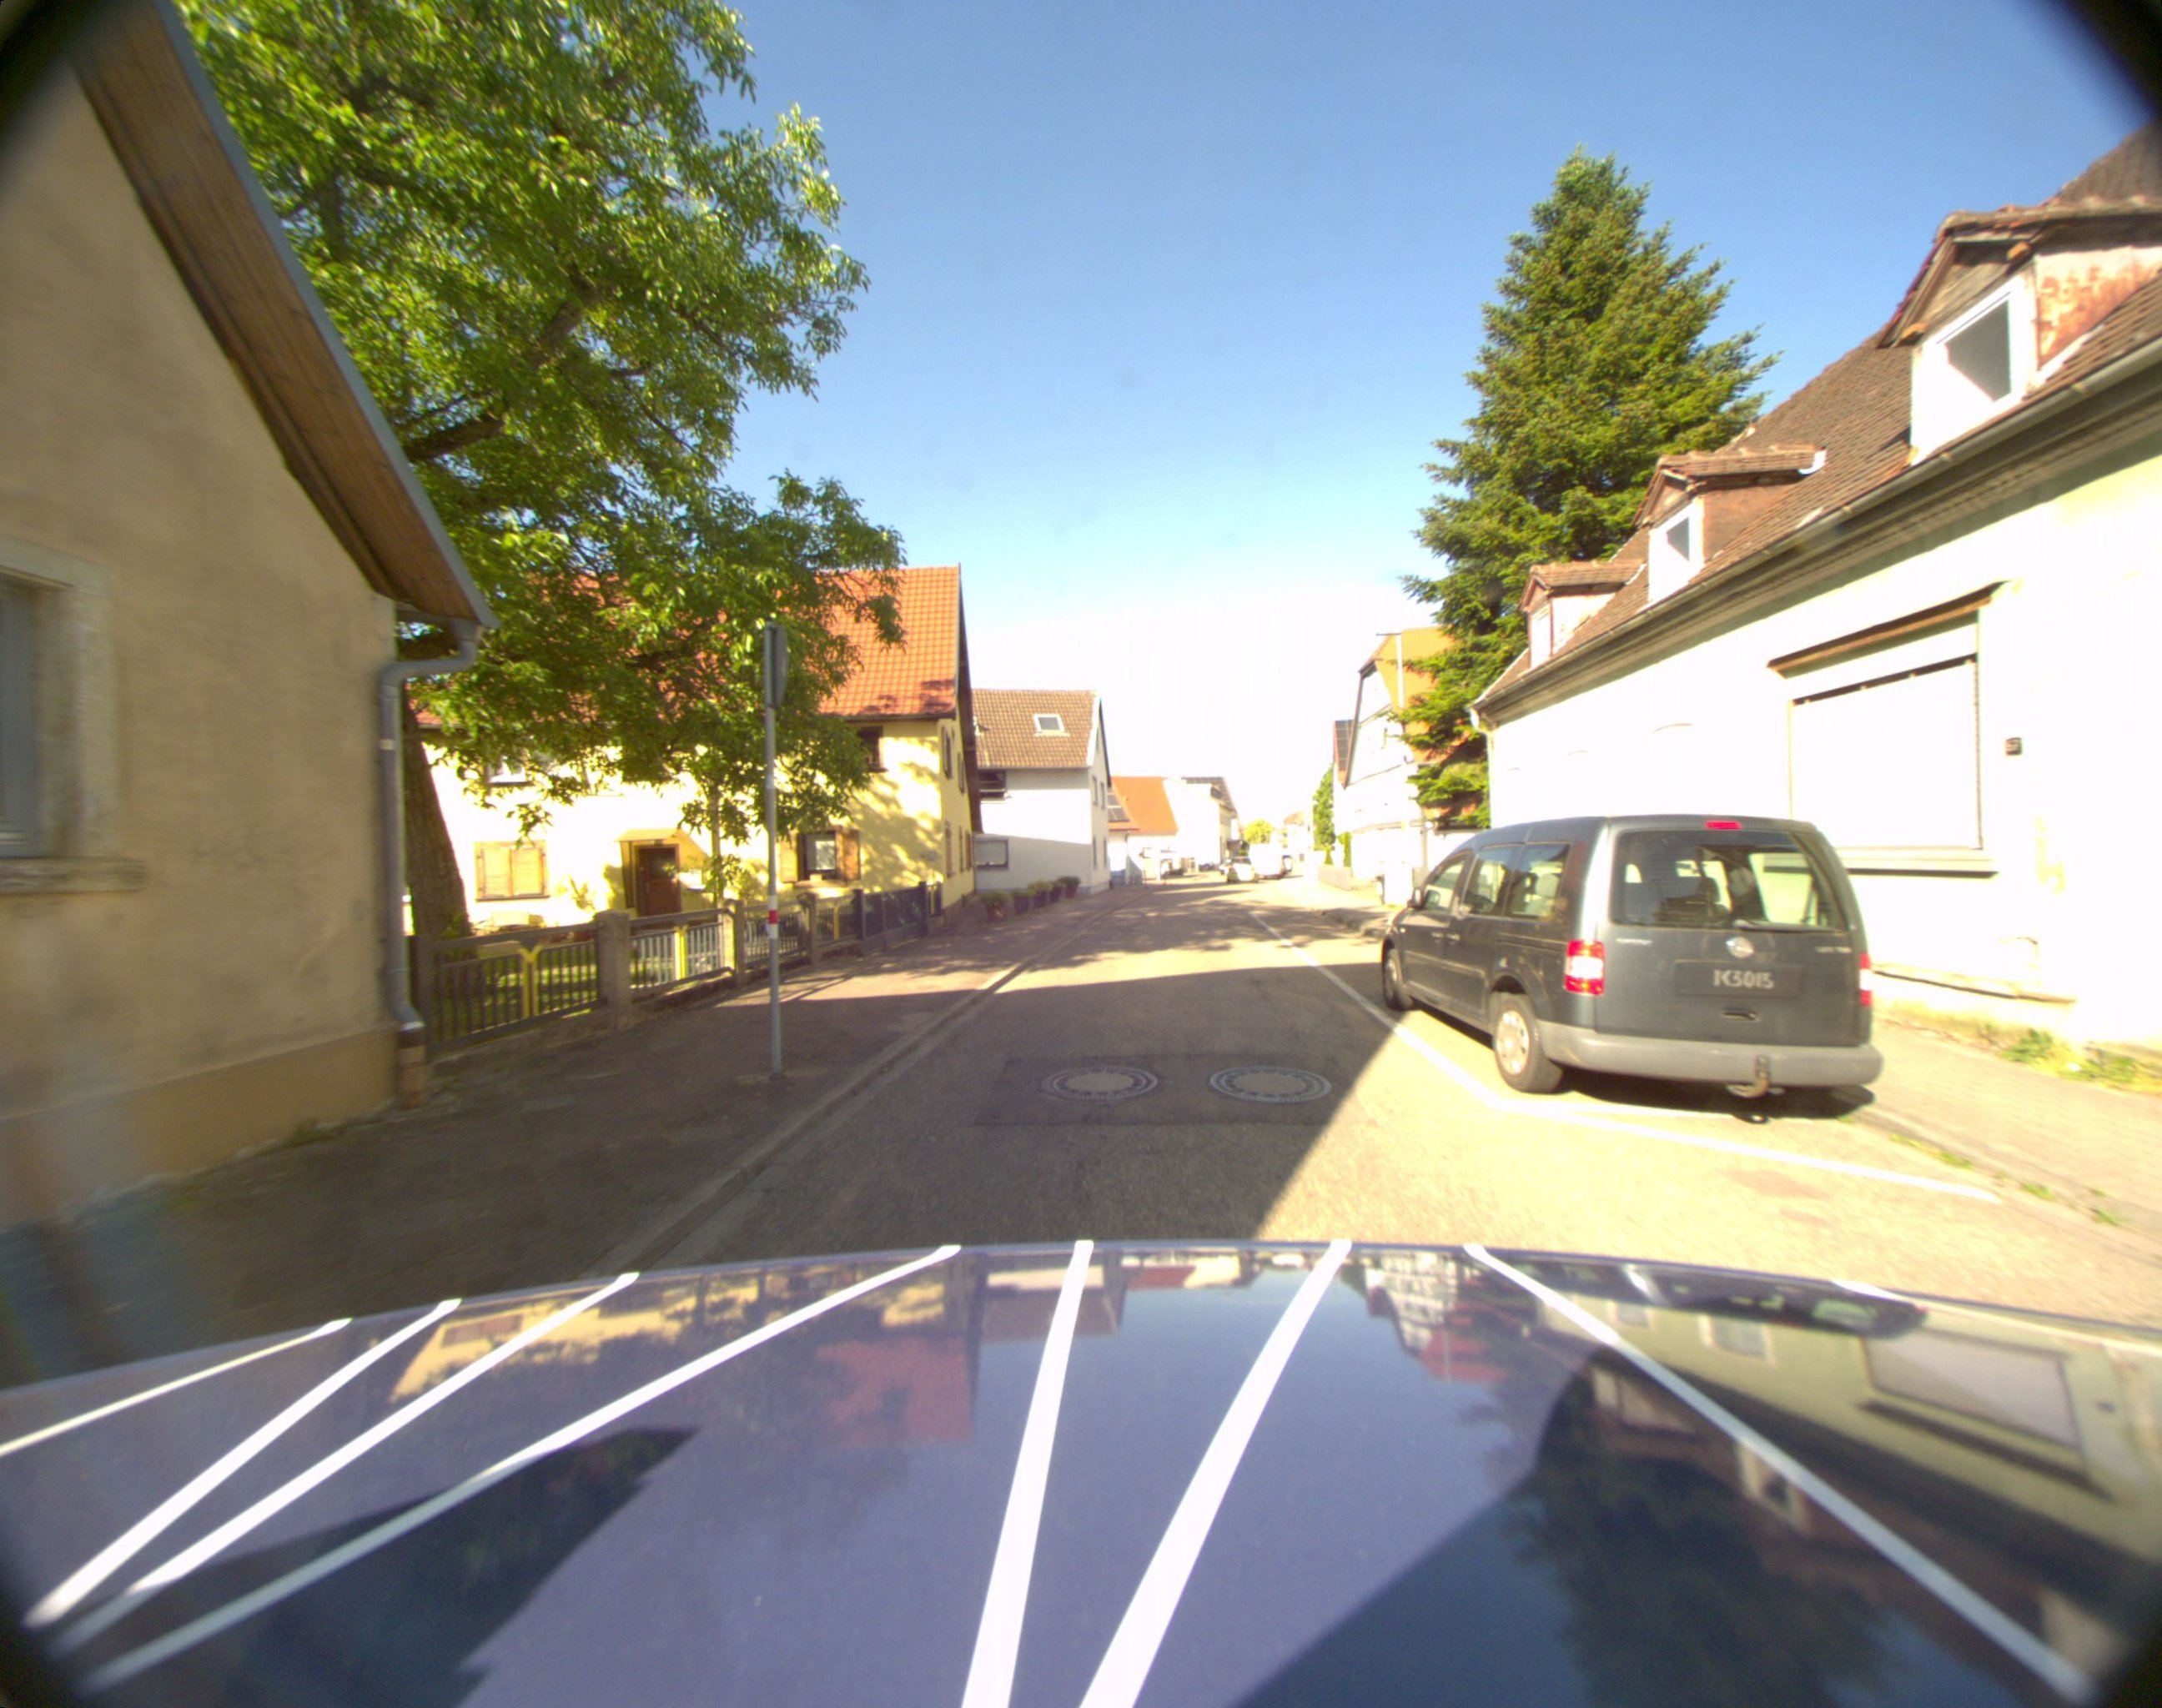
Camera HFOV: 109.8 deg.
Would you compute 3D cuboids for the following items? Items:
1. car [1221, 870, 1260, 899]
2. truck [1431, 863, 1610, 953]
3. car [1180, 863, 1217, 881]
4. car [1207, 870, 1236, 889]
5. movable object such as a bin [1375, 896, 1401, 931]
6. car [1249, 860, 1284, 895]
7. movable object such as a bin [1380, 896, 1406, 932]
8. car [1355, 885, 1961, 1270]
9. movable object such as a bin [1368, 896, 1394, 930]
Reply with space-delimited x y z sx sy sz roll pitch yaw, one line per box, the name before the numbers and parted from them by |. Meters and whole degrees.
car | 9.387 1.758 44.570 1.891 1.581 4.006 1 -1 16
truck | 10.261 1.185 18.239 1.997 1.837 4.756 -2 -1 8
car | 13.268 2.052 85.647 3.993 2.001 1.843 0 -1 10
car | 12.041 2.140 64.896 1.805 1.468 4.350 -3 -1 18
movable object such as a bin | 8.681 1.670 21.482 0.525 0.941 0.430 -2 -1 2
car | 12.484 1.555 50.965 2.058 2.232 4.866 1 -1 16
movable object such as a bin | 8.639 1.660 21.038 0.525 0.941 0.430 -2 -1 2
car | 3.716 1.212 6.075 1.836 1.779 4.356 2 -1 6
movable object such as a bin | 8.691 1.692 22.000 0.525 0.941 0.520 -2 -1 2
